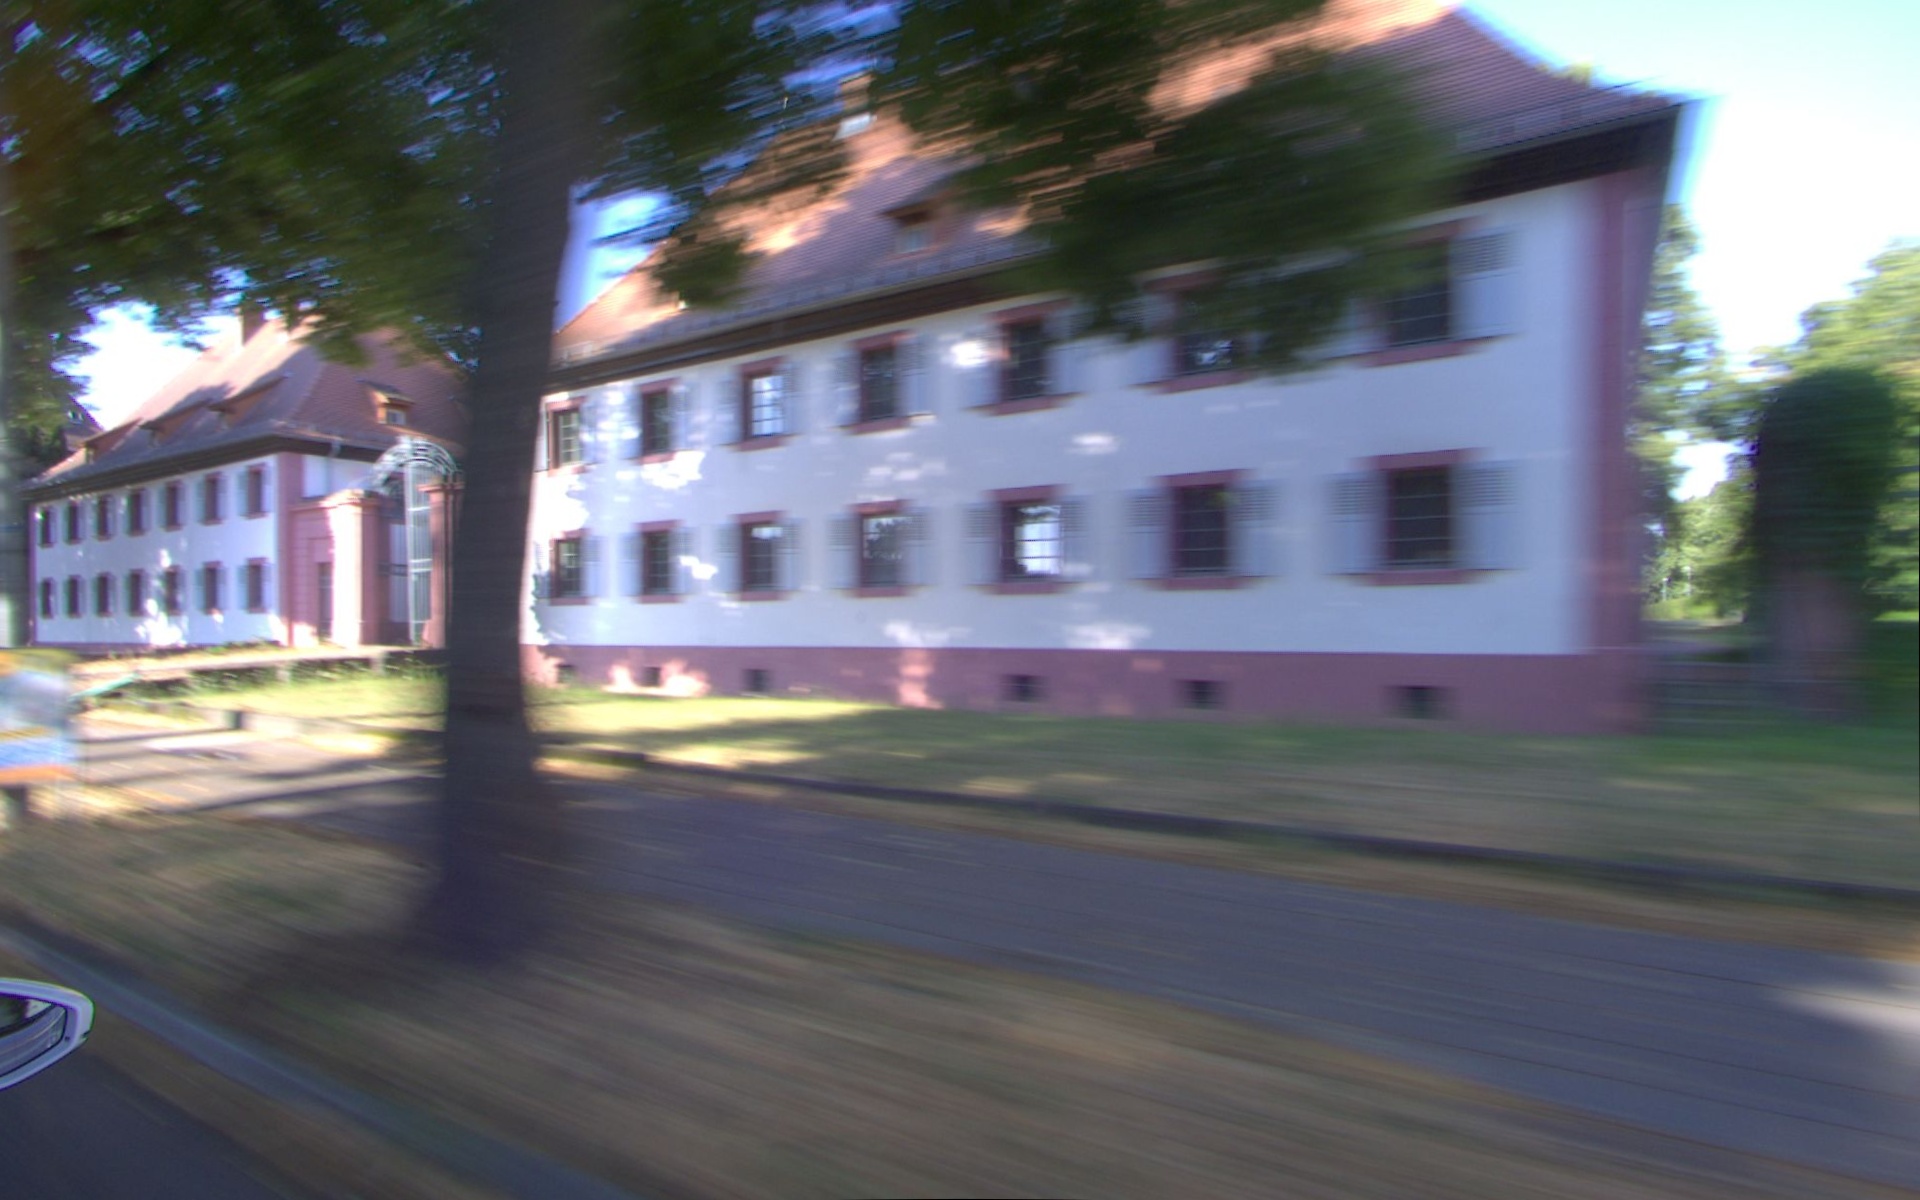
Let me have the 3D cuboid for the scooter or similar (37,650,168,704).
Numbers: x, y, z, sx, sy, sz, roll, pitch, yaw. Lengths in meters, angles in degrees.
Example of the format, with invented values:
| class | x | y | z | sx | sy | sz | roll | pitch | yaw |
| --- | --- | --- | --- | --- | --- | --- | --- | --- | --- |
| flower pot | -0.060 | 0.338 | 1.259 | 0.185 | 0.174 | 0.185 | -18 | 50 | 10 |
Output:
| class | x | y | z | sx | sy | sz | roll | pitch | yaw |
| --- | --- | --- | --- | --- | --- | --- | --- | --- | --- |
| scooter or similar | -13.140 | 1.165 | 15.362 | 1.049 | 0.557 | 1.220 | -1 | 8 | 32 |
